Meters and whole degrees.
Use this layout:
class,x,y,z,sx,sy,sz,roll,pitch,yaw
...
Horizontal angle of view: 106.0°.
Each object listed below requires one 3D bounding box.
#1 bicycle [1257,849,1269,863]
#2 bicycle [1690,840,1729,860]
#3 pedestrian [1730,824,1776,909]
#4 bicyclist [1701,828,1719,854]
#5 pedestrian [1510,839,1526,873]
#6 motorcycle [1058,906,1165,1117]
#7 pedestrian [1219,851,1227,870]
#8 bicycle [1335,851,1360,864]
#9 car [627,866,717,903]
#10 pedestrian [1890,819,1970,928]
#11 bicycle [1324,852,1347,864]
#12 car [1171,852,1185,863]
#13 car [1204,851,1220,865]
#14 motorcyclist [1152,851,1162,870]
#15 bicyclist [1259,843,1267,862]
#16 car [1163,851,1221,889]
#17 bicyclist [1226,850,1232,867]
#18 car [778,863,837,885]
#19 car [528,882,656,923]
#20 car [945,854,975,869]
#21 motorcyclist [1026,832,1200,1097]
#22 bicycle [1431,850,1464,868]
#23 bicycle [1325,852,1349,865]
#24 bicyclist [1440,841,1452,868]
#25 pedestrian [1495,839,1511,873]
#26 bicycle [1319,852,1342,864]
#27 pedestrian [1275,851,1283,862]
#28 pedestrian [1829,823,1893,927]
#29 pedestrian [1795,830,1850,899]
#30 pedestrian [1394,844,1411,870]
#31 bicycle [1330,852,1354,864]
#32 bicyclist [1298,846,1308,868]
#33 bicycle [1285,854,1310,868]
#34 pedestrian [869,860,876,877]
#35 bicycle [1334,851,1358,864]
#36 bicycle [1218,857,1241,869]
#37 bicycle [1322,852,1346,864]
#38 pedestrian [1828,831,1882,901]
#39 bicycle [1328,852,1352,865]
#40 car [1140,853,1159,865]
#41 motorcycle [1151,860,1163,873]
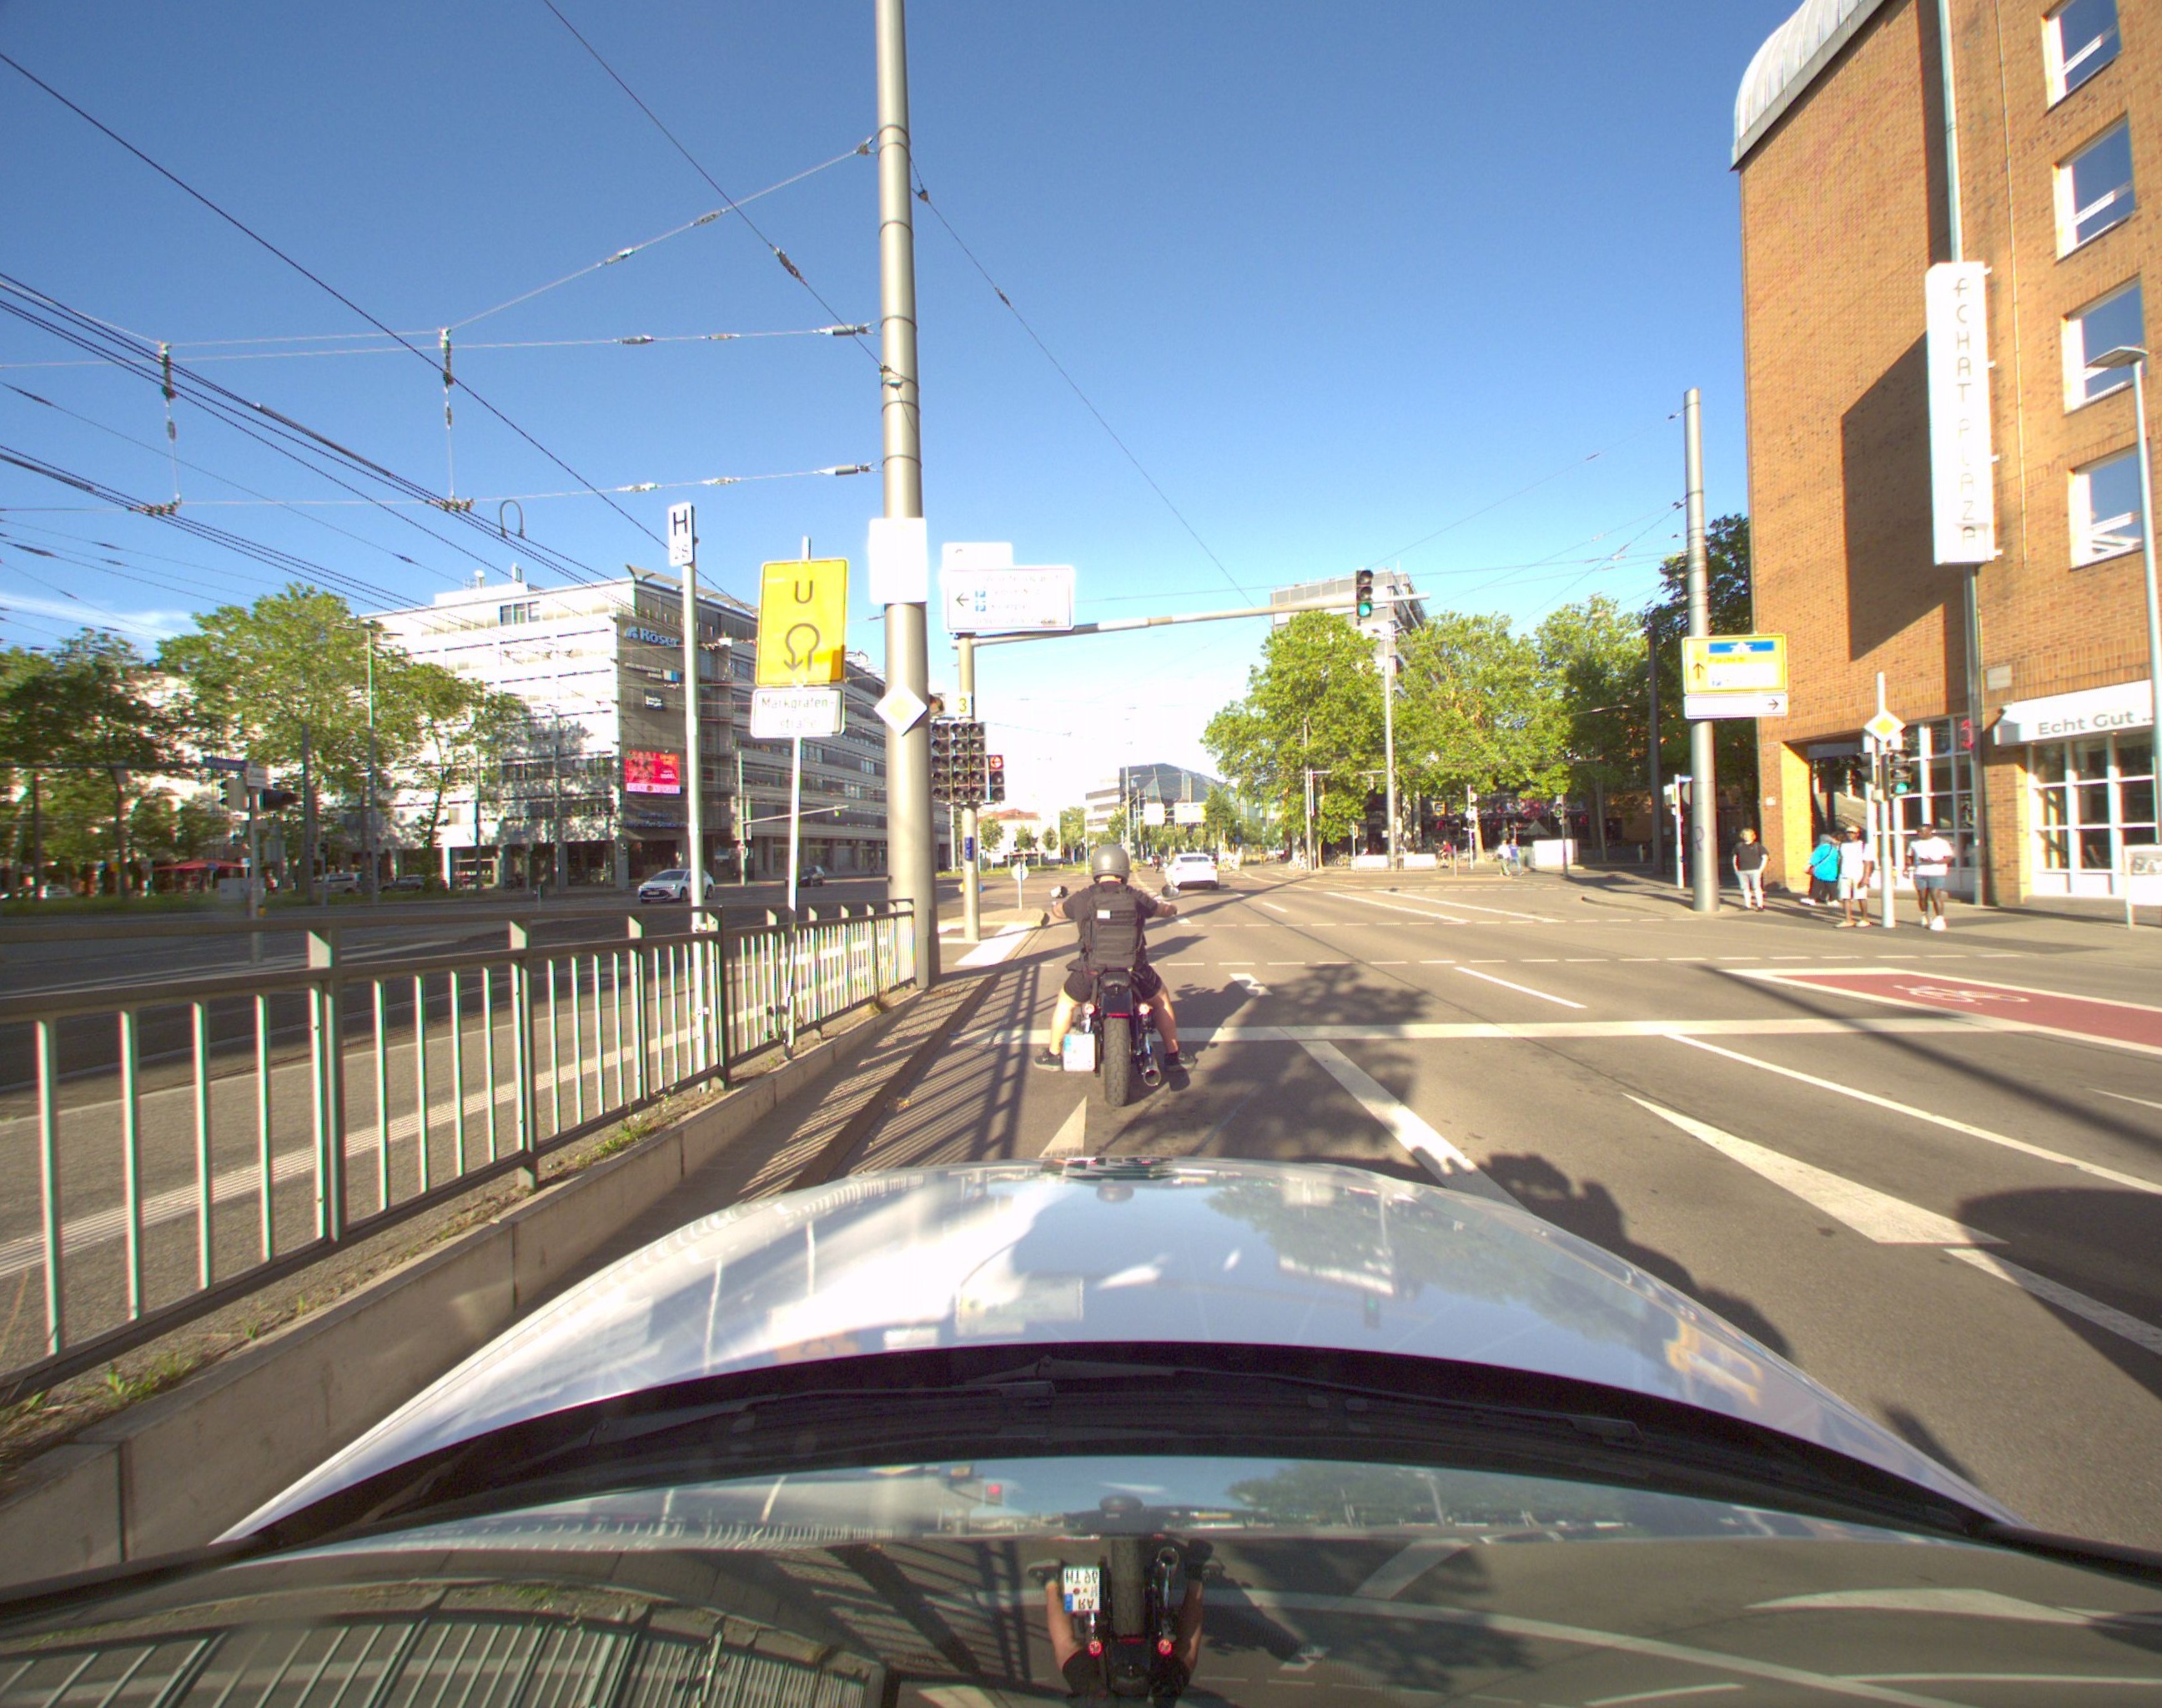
class,x,y,z,sx,sy,sz,roll,pitch,yaw
bicycle,17.621,0.191,78.869,0.722,1.367,2.922,0,-1,6
bicycle,37.069,-0.227,48.041,2.327,1.178,0.565,0,-1,-17
pedestrian,14.590,0.273,17.690,0.727,1.792,0.515,-1,-1,42
bicyclist,37.119,-0.775,48.072,0.633,1.519,0.564,0,-1,-17
pedestrian,19.588,0.103,36.509,0.561,1.479,0.706,-1,-1,22
motorcycle,0.206,0.961,5.712,0.598,1.036,2.235,0,0,2
pedestrian,11.954,0.539,68.591,0.587,1.557,0.488,0,-1,-6
bicycle,21.369,0.286,65.379,1.874,1.046,0.360,0,-1,1
car,-18.215,1.330,36.529,1.821,1.430,4.526,-2,0,-2
pedestrian,14.287,0.326,13.721,0.588,1.780,0.684,-3,-1,13
bicycle,21.466,0.351,68.649,1.874,1.046,0.360,0,0,1
car,14.966,0.603,125.060,1.791,1.678,4.054,0,-1,12
car,17.243,0.540,107.341,1.719,1.732,4.629,0,0,14
motorcyclist,6.309,0.509,67.693,0.793,1.580,0.529,0,-1,1
bicyclist,17.616,-0.152,78.835,0.693,1.808,0.730,0,-1,6
car,4.453,0.614,33.235,1.797,1.430,4.453,-2,0,1
bicyclist,12.189,0.395,66.952,0.380,1.373,0.344,0,-1,-7
car,-18.634,1.355,55.733,1.812,1.430,4.256,-1,-1,13
car,-13.813,1.360,23.145,2.884,1.063,1.235,0,-1,-19
car,-12.745,0.840,85.984,1.737,1.524,4.014,-1,-1,13
motorcyclist,0.207,0.678,5.431,1.027,1.593,0.874,-2,0,1
bicycle,25.250,0.350,56.138,2.034,1.214,0.421,0,-1,2
bicycle,21.445,0.358,68.164,1.874,1.046,0.360,0,-1,1
bicyclist,25.167,0.042,56.151,0.582,1.837,0.403,0,-1,1
pedestrian,18.969,0.088,36.583,0.561,1.533,0.706,-1,-1,22
bicycle,21.550,0.357,70.300,1.874,1.046,0.360,0,0,1
pedestrian,21.965,0.281,90.308,0.814,1.314,0.640,-1,-1,11
pedestrian,13.837,0.369,14.461,0.586,1.780,0.686,-5,0,31
pedestrian,16.133,0.231,17.729,0.590,1.452,0.601,-2,-1,2
pedestrian,21.408,0.216,54.248,0.829,1.704,0.760,0,-1,2
bicycle,21.477,0.331,66.974,1.874,1.046,0.360,0,-1,1
bicyclist,17.720,0.245,64.928,0.682,1.673,0.544,-2,-2,21
bicycle,17.323,0.572,65.064,1.854,1.044,0.540,-1,-1,20
pedestrian,-24.243,1.670,94.540,0.628,2.014,0.754,0,-1,2
bicycle,21.527,0.307,66.160,1.874,1.046,0.360,0,-1,1
bicycle,12.187,0.755,66.943,1.823,0.925,0.357,0,-1,-7
bicycle,21.486,0.351,69.149,1.874,1.046,0.360,0,0,1
pedestrian,16.783,0.251,17.667,0.590,1.476,0.552,-2,-1,2
bicycle,21.441,0.350,67.532,1.874,1.046,0.360,0,0,1
car,8.427,0.610,99.647,1.720,1.457,4.432,-1,-1,12
motorcycle,6.315,1.034,67.876,0.801,1.050,2.376,0,-1,2
